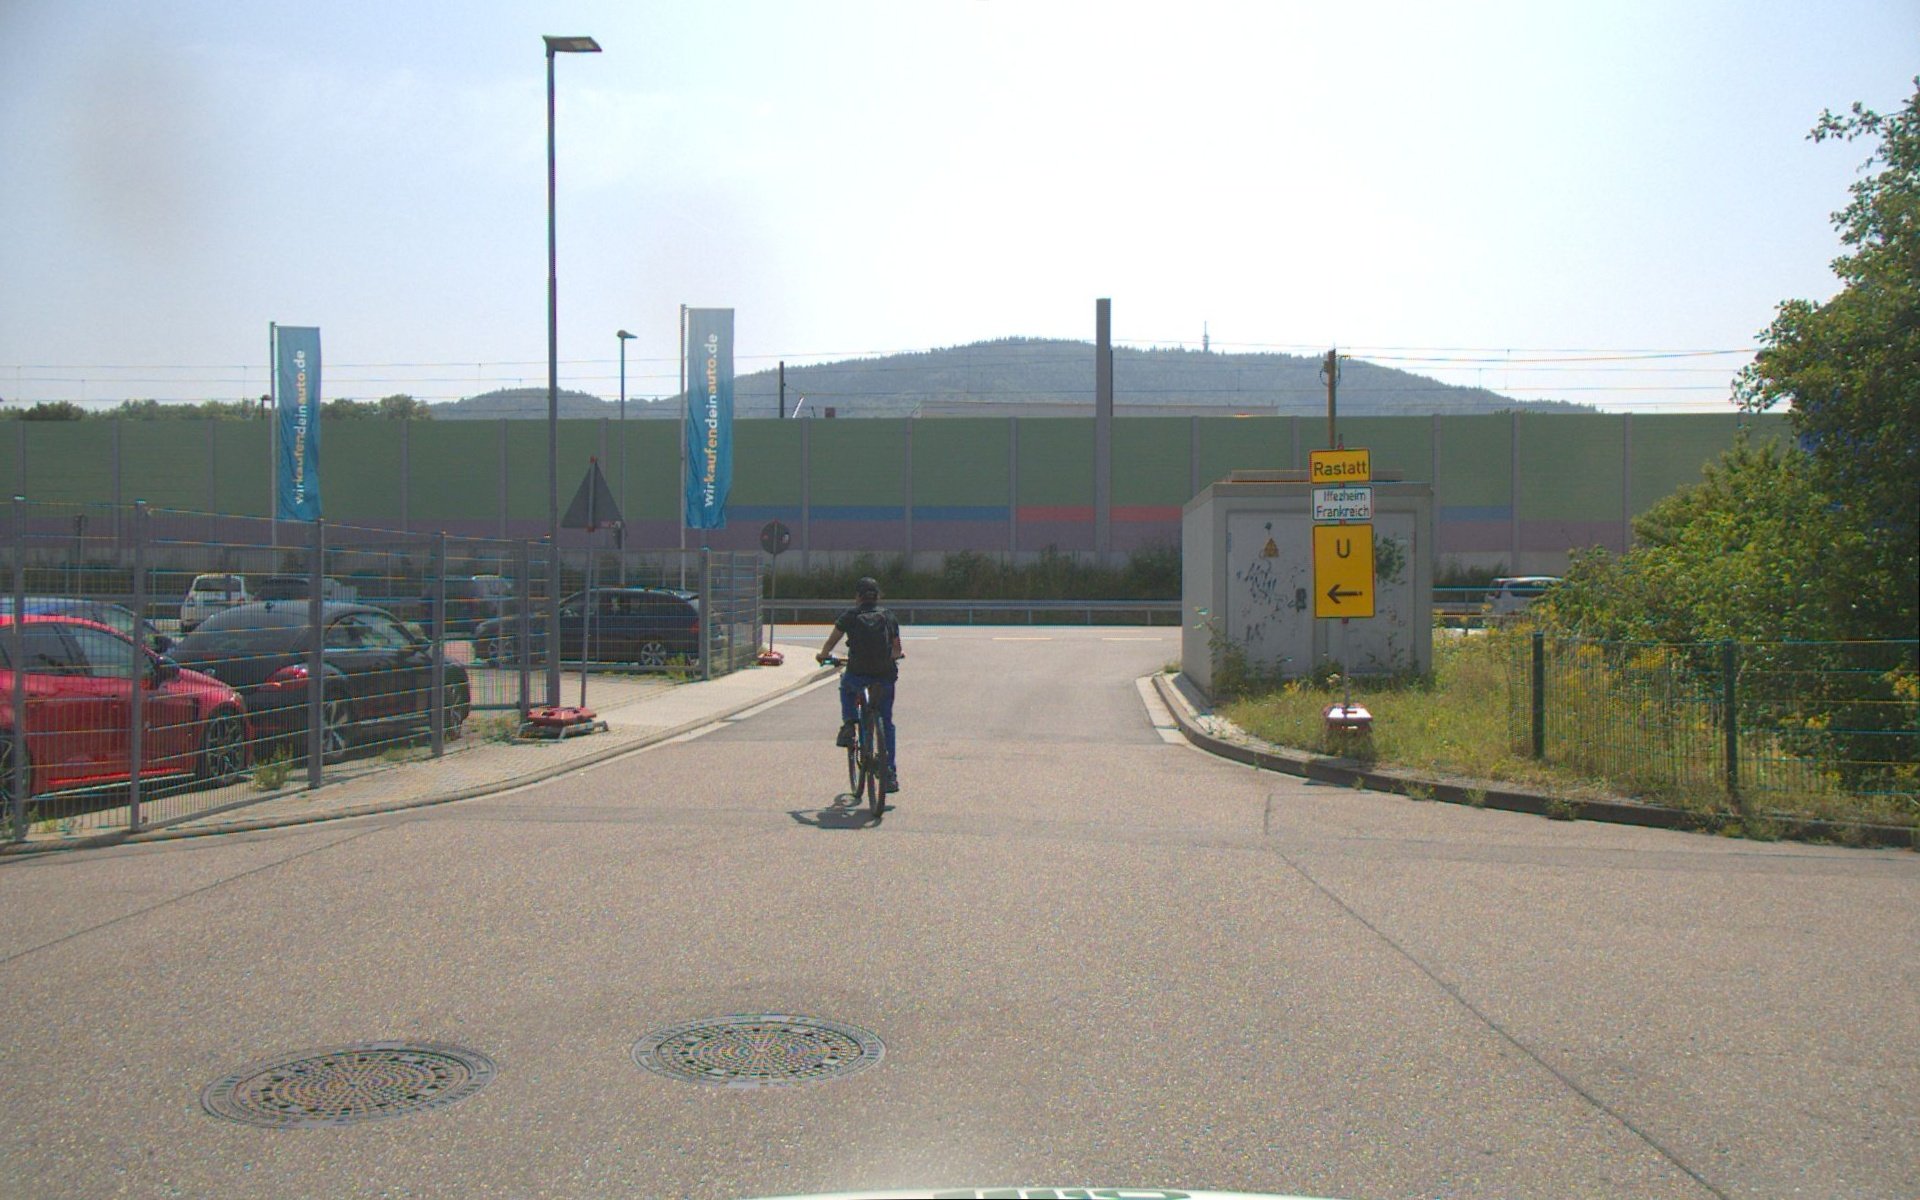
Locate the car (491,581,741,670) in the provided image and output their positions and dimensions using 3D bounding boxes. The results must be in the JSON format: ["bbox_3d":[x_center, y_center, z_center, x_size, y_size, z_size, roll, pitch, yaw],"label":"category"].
[{"bbox_3d":[-6.095,0.425,29.516,3.902,1.519,2.002,0,0,10],"label":"car"}]

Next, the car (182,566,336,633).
[{"bbox_3d":[-17.615,-0.034,41.765,1.951,1.609,4.002,0,1,4],"label":"car"}]

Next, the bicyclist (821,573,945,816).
[{"bbox_3d":[-0.565,0.653,11.807,0.826,1.647,1.038,1,-1,-5],"label":"bicyclist"}]

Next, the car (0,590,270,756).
[{"bbox_3d":[-8.704,0.640,16.783,1.452,1.480,3.897,0,0,6],"label":"car"}]

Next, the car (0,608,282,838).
[{"bbox_3d":[-6.849,0.793,11.999,1.830,1.411,4.116,0,0,6],"label":"car"}]

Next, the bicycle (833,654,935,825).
[{"bbox_3d":[-0.577,0.954,11.902,0.671,1.070,1.899,0,0,-5],"label":"bicycle"}]

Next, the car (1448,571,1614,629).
[{"bbox_3d":[15.406,-0.011,44.819,3.902,1.519,2.002,0,0,6],"label":"car"}]

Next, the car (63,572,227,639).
[{"bbox_3d":[-20.594,0.110,41.985,1.951,1.609,4.002,0,1,4],"label":"car"}]

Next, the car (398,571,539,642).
[{"bbox_3d":[-11.756,0.130,39.841,1.951,1.609,4.002,0,1,4],"label":"car"}]

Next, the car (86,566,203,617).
[{"bbox_3d":[-27.723,-0.305,56.365,1.662,1.686,4.003,0,0,7],"label":"car"}]

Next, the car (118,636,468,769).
[{"bbox_3d":[-6.390,0.928,16.371,1.452,1.024,4.116,0,0,6],"label":"car"}]
